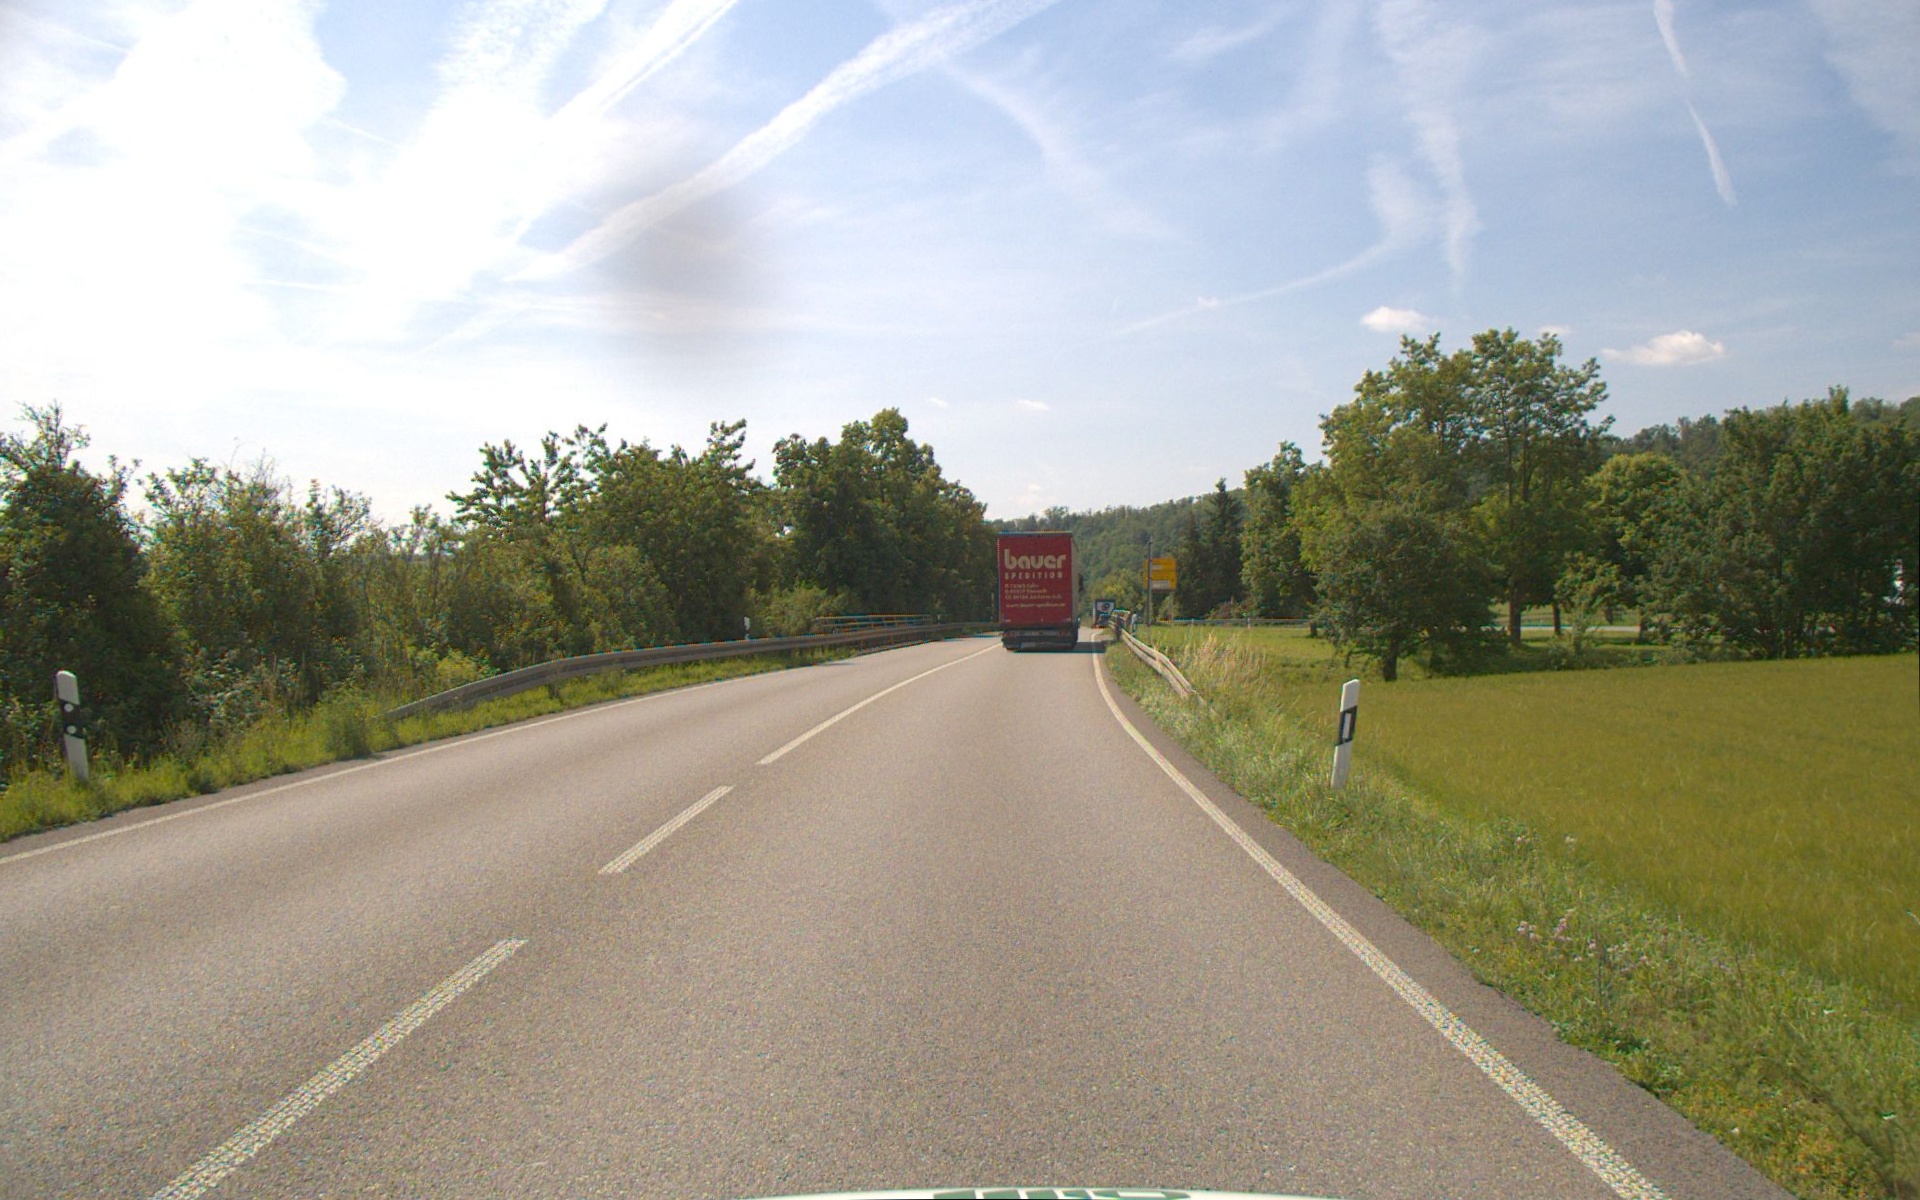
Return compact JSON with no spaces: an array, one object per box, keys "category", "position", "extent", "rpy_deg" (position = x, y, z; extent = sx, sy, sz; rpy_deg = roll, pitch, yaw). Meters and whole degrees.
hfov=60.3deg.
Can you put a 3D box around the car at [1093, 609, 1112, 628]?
[{"category":"car","position":[15.175,1.977,175.793],"extent":[1.951,1.842,4.002],"rpy_deg":[2,-2,6]}]

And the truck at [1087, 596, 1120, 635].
[{"category":"truck","position":[18.016,2.029,207.039],"extent":[3.822,4.446,13.299],"rpy_deg":[1,-2,6]}]

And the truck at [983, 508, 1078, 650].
[{"category":"truck","position":[2.756,-0.685,61.888],"extent":[3.106,4.706,13.549],"rpy_deg":[-1,0,3]}]
